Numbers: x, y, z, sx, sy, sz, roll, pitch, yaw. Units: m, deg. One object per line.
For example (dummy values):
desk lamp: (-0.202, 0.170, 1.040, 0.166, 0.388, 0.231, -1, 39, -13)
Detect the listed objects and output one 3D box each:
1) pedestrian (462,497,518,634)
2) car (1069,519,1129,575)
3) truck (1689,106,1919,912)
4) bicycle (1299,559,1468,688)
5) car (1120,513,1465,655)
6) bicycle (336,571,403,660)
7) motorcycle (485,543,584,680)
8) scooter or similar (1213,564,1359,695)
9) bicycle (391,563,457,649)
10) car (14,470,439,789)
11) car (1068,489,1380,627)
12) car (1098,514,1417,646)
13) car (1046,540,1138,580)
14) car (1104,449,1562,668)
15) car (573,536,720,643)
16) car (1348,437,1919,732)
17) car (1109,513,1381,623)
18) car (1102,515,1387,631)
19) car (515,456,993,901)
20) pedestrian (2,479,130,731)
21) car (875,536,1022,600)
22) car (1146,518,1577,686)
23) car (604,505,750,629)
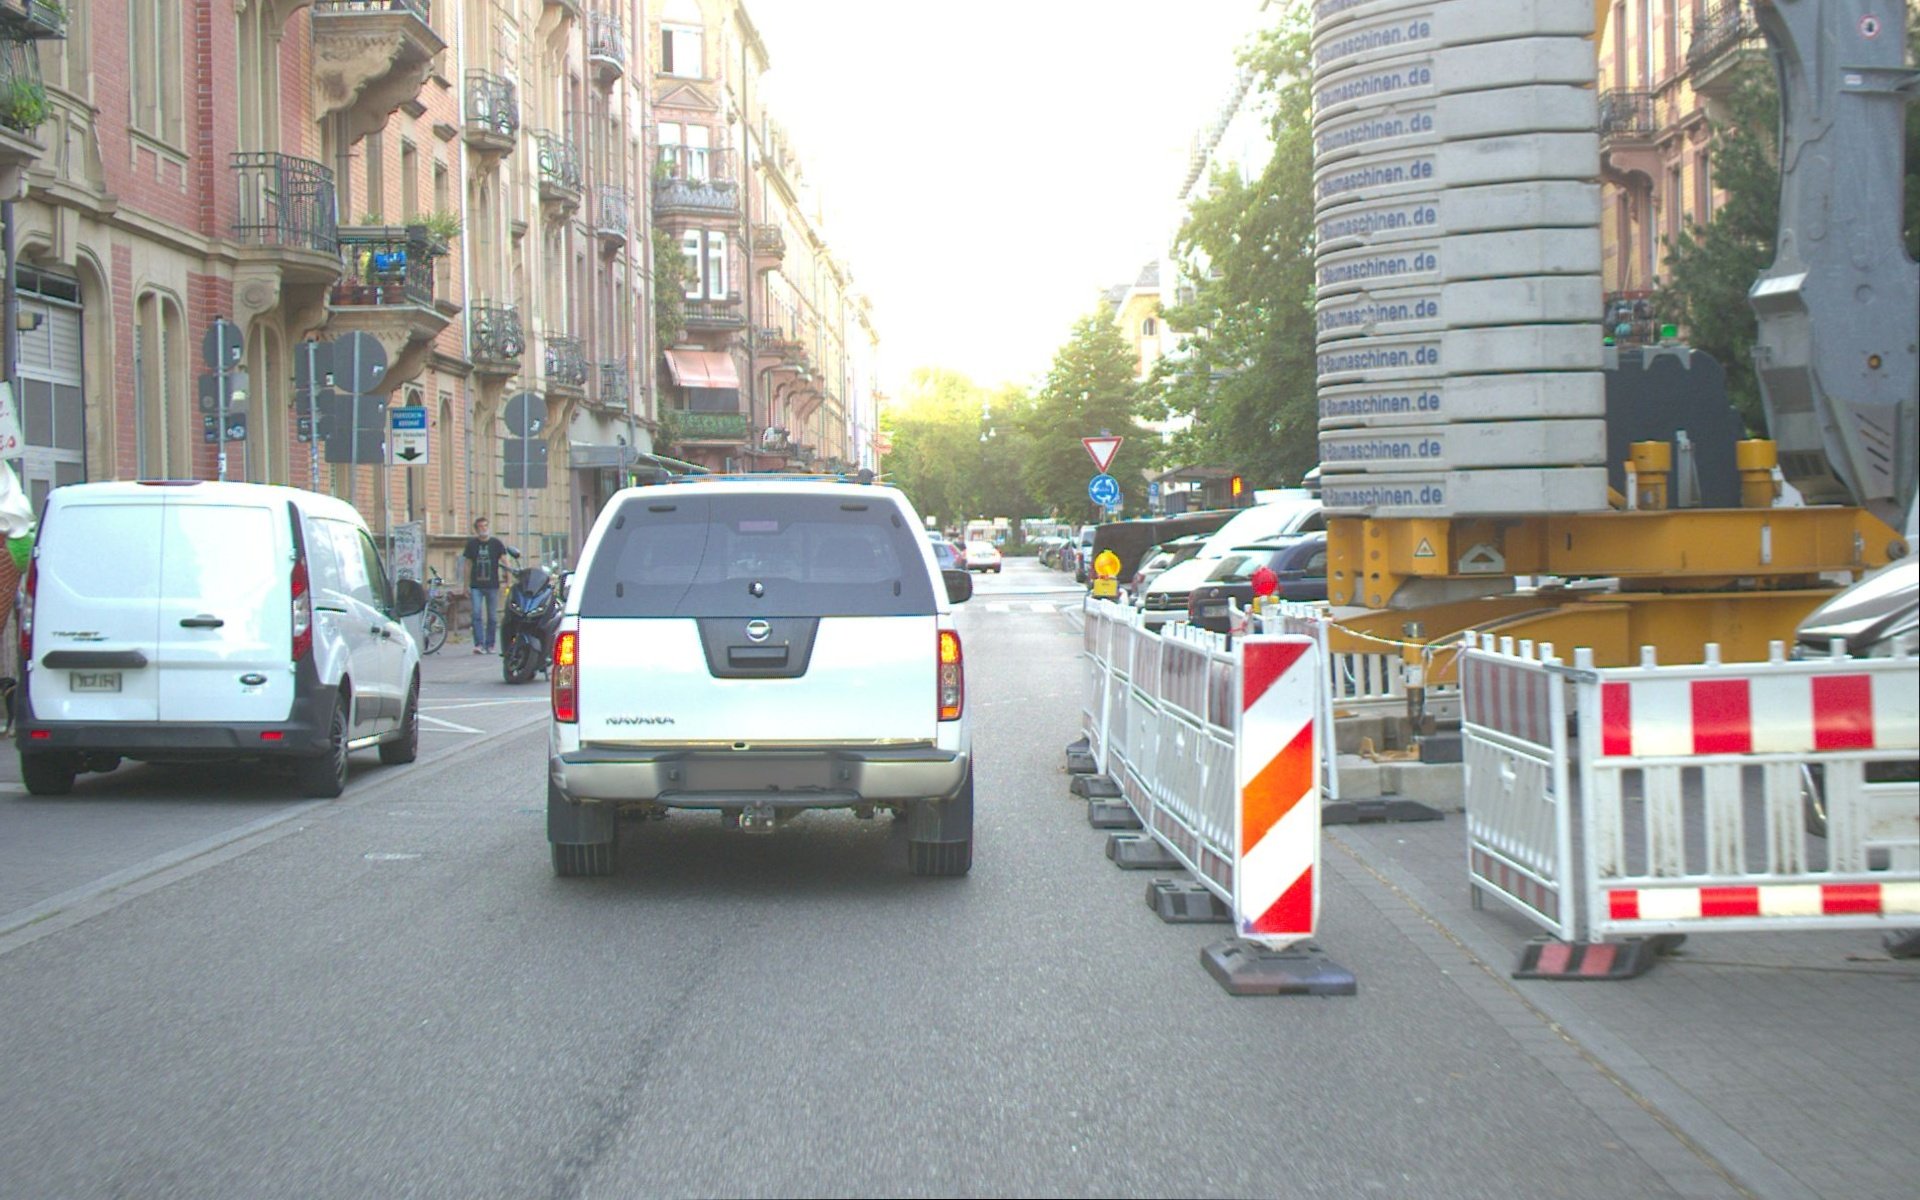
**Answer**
pedestrian: (-6.293, -0.458, 46.045, 0.681, 1.804, 0.961, 1, 0, -5)
car: (4.908, -1.867, 121.754, 1.942, 1.927, 4.000, 1, 0, 0)
truck: (6.479, -0.328, 14.152, 6.481, 3.066, 2.524, 1, 0, 4)
bicycle: (3.877, 0.200, 31.615, 0.495, 1.132, 1.814, -4, 2, -31)
car: (4.411, -0.237, 45.482, 4.153, 1.585, 1.886, -4, 3, -30)
bicycle: (-6.985, 0.168, 40.711, 0.447, 1.026, 1.740, 1, 0, 2)
motorcycle: (-4.472, 0.107, 36.243, 0.685, 1.400, 2.014, 1, 0, 3)
scooter or similar: (2.980, 0.256, 31.535, 0.654, 1.146, 1.484, -3, 2, -23)
bicycle: (-7.083, 0.069, 45.481, 0.749, 1.097, 2.026, 1, 0, -6)
car: (-4.458, 0.146, 21.555, 1.770, 1.783, 4.588, 0, 0, -1)
car: (4.657, -0.752, 60.007, 5.421, 2.065, 1.933, -5, 2, -37)
car: (4.203, -0.295, 48.406, 4.096, 1.585, 1.819, -4, 2, -30)
car: (5.868, -1.779, 153.081, 3.987, 1.744, 1.841, 1, 0, 0)
car: (4.345, -0.510, 39.938, 4.922, 2.354, 2.000, -2, 1, -25)
car: (-4.505, -0.174, 49.853, 1.837, 1.466, 4.173, 0, 1, -1)
car: (5.694, -0.172, 26.186, 5.173, 1.949, 1.899, -3, 2, 0)
car: (4.711, -0.533, 56.670, 4.096, 1.546, 1.818, -4, 2, -31)
car: (4.483, -0.439, 53.996, 4.096, 1.546, 1.818, -4, 2, -31)
car: (-1.006, 0.306, 16.558, 1.938, 1.804, 5.001, 1, 0, -4)
pedestrian: (-6.532, 0.032, 25.139, 0.598, 1.808, 0.720, 1, 0, 19)
car: (-0.315, -0.887, 94.797, 3.762, 1.722, 1.769, 1, 0, 12)
car: (4.017, -0.012, 34.395, 3.854, 1.511, 1.848, -2, 1, -25)
car: (-4.531, -0.546, 55.623, 1.837, 1.915, 4.845, 0, 1, 1)
